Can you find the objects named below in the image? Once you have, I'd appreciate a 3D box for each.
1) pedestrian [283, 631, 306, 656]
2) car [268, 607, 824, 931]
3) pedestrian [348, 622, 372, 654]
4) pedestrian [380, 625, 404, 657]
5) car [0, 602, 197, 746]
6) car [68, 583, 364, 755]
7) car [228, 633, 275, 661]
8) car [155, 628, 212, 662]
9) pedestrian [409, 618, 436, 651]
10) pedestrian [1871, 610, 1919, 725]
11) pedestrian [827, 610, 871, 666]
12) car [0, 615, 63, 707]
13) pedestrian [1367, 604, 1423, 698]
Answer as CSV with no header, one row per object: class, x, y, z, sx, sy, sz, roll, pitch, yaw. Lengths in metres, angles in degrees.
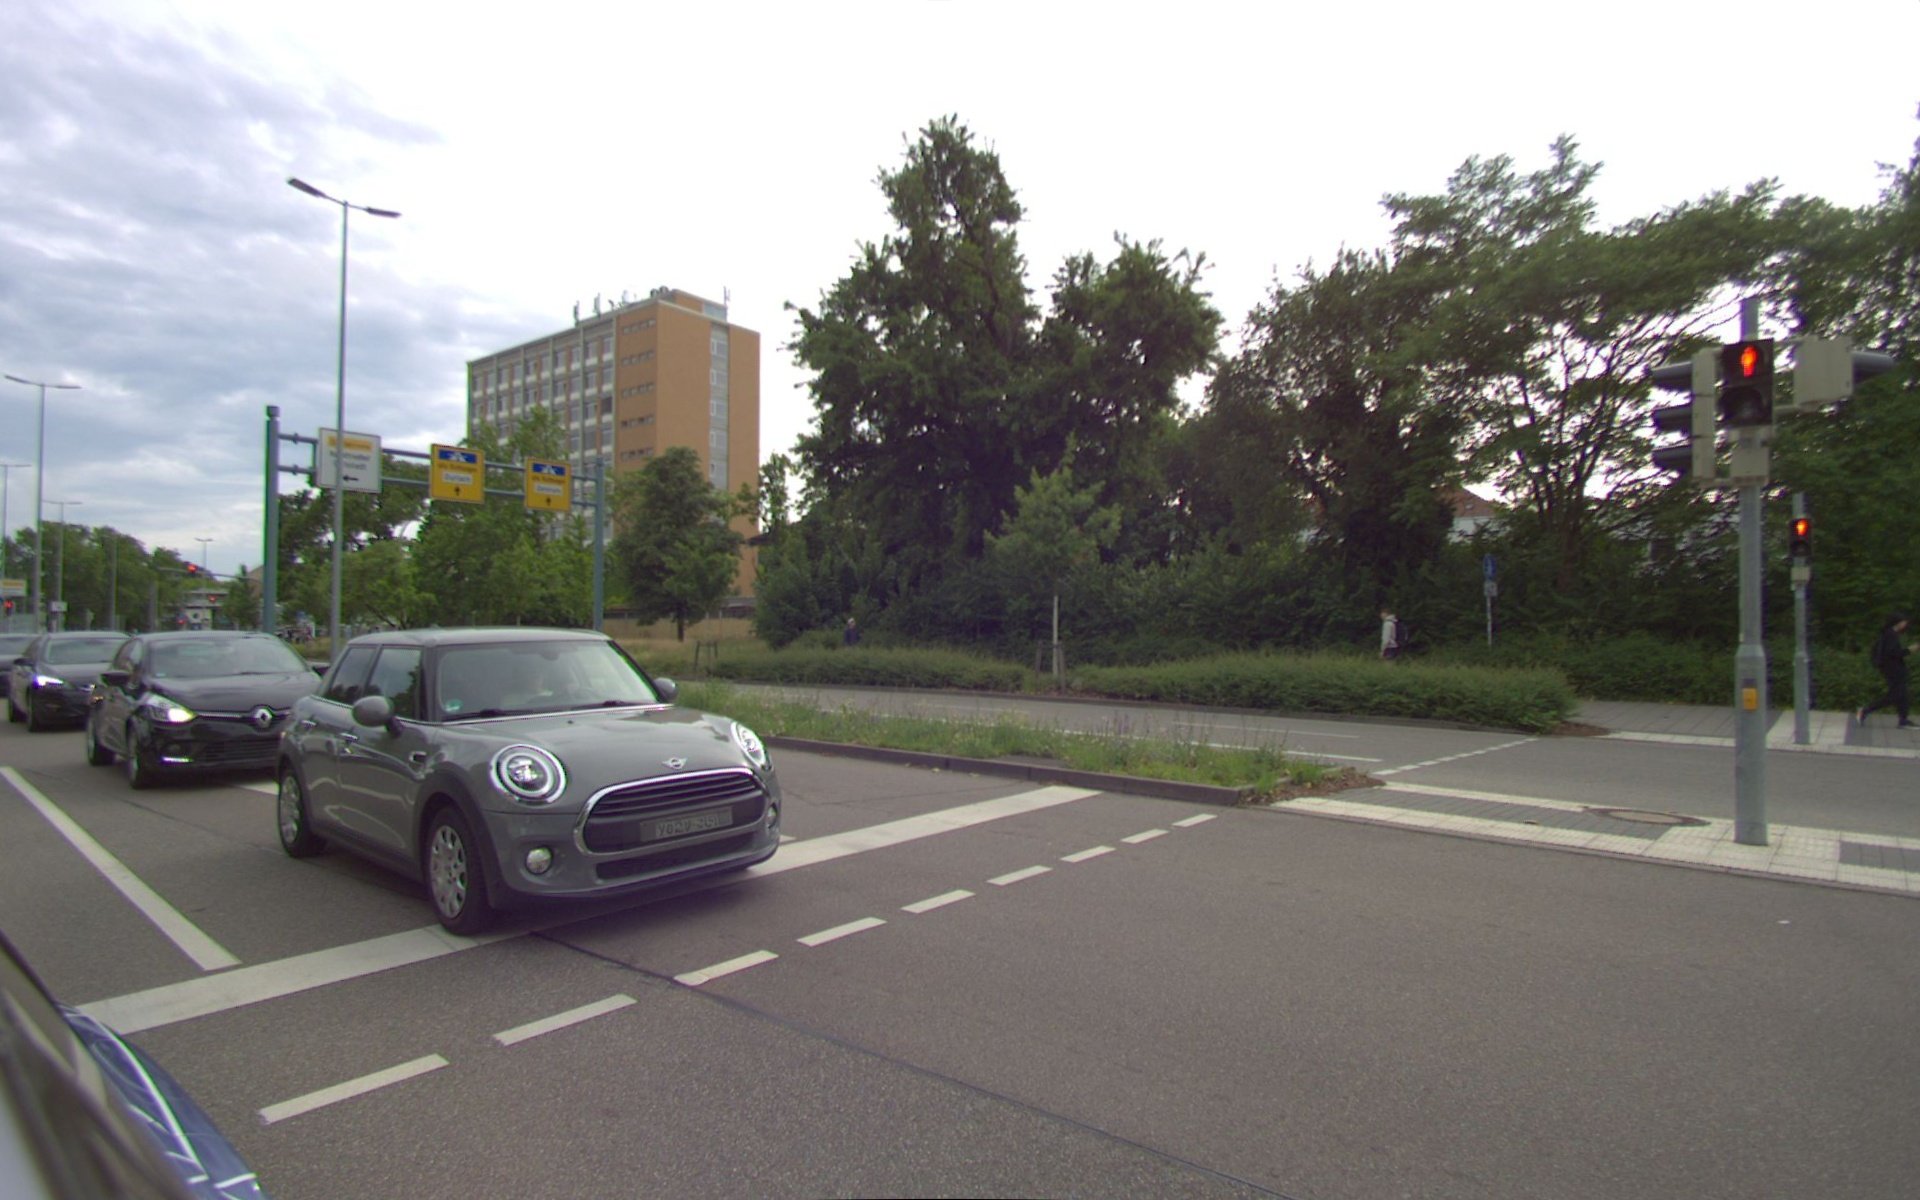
pedestrian,-54.796,3.561,83.293,1.519,2.029,1.208,-2,-1,41
car,-2.630,0.759,6.014,3.704,1.328,1.604,-2,-3,42
pedestrian,-38.529,2.454,64.937,1.218,2.029,0.872,-2,-1,34
pedestrian,-36.532,2.615,65.070,1.218,2.029,0.872,-2,-1,34
car,-14.062,1.118,16.388,3.999,2.029,1.972,-2,-3,42
car,-7.907,0.659,10.626,3.999,1.470,1.709,-2,-3,42
car,-41.943,2.748,59.844,1.827,1.564,4.005,1,-2,-42
car,-44.502,2.554,58.002,3.999,1.786,1.868,-1,-1,42
pedestrian,-32.877,2.088,61.880,1.163,1.933,1.122,-2,-1,45
pedestrian,14.437,1.016,15.513,0.652,1.708,0.583,-2,-1,41
pedestrian,-3.313,1.121,30.262,0.812,1.637,0.978,-2,-1,39
car,-22.759,1.399,23.829,3.999,2.029,1.972,-2,-3,42
pedestrian,9.598,1.108,22.345,0.896,2.029,0.823,1,-2,-44
